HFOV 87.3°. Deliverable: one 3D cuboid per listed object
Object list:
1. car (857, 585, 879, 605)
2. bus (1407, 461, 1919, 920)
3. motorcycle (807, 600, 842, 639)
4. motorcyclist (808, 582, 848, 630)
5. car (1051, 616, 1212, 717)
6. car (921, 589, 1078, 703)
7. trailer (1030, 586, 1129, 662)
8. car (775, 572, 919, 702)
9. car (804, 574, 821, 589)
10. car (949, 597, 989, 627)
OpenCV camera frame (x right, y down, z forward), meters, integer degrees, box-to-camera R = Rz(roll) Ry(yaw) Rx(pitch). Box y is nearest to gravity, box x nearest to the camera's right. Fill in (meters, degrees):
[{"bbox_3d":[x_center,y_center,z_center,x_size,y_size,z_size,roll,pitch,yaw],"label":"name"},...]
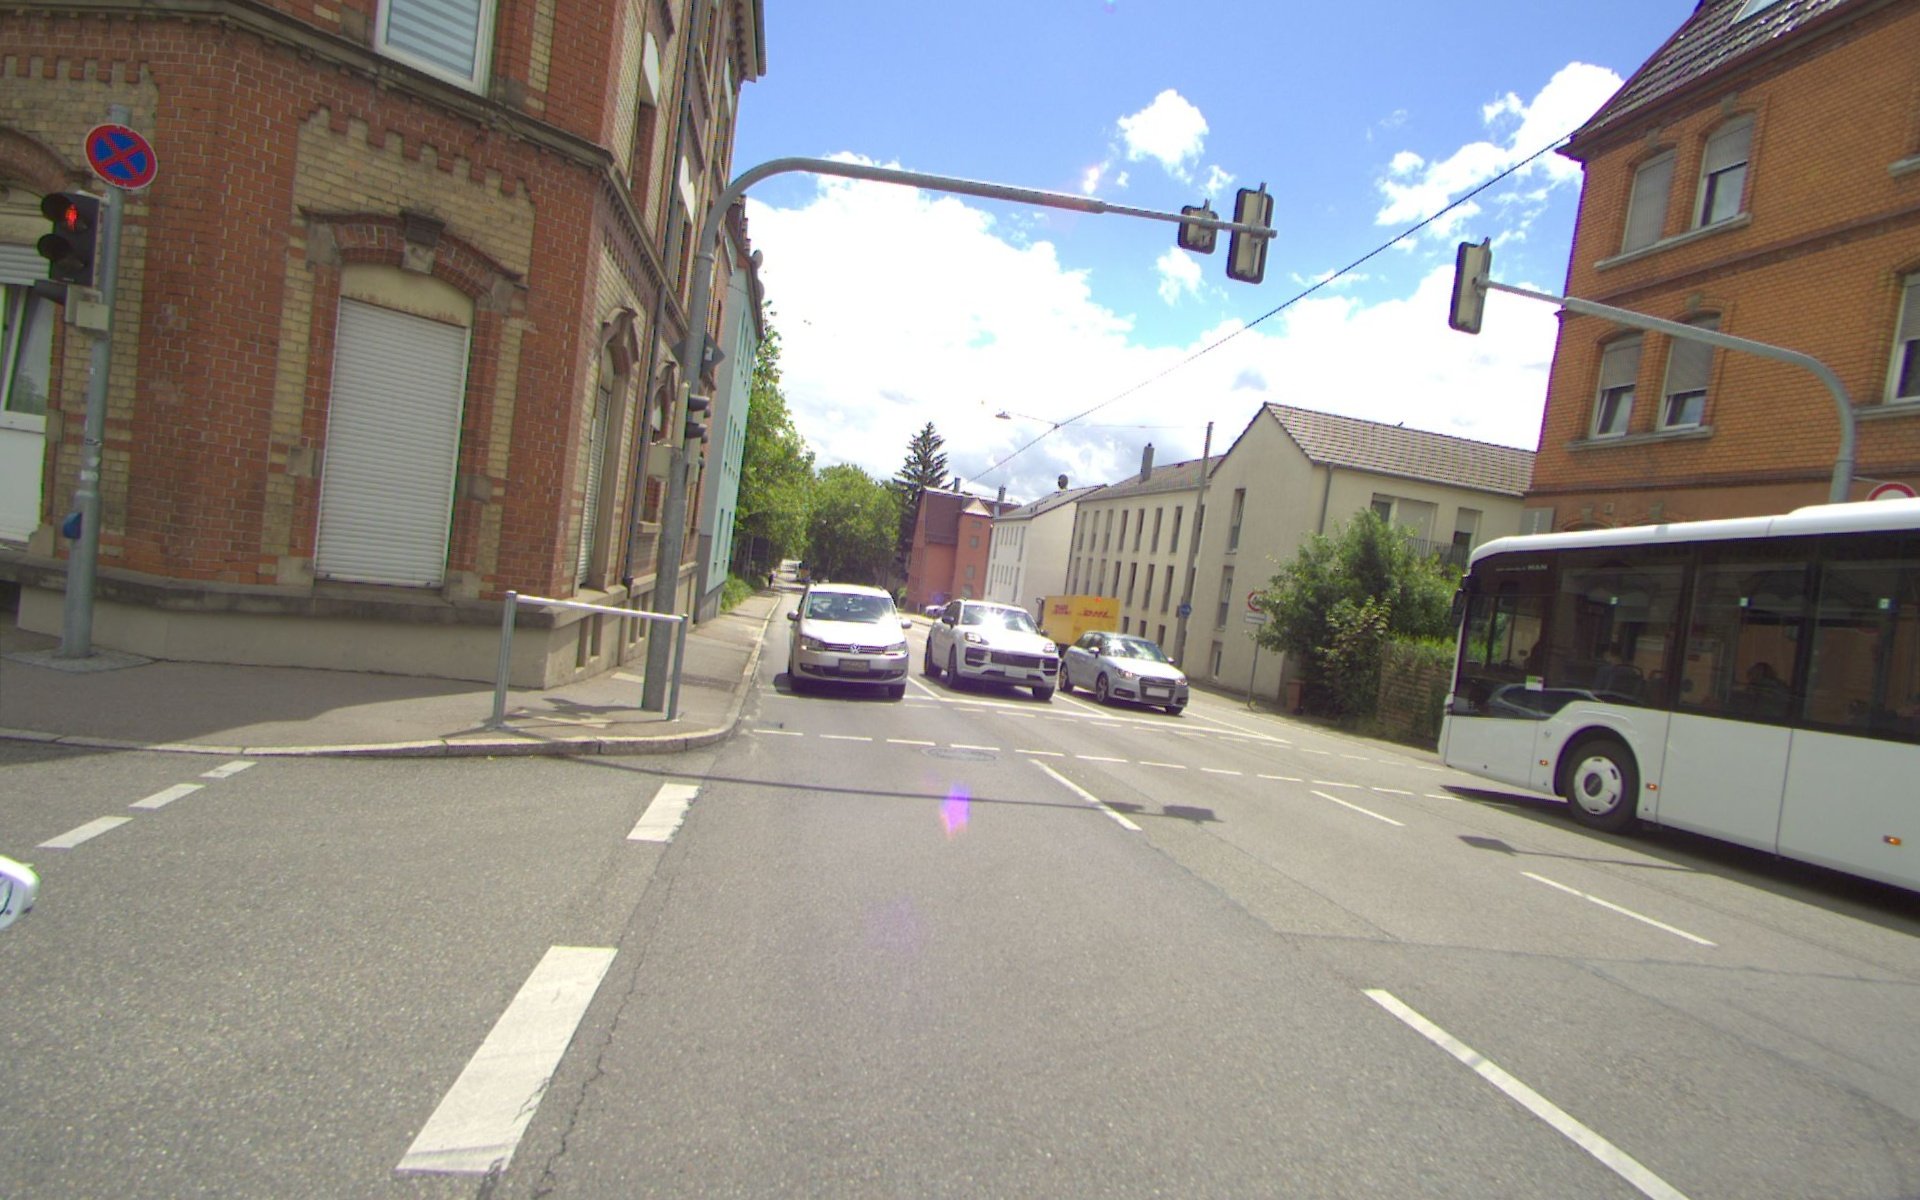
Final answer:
[{"bbox_3d":[-9.401,-0.532,102.956,1.965,1.738,4.606,7,0,-7],"label":"car"},{"bbox_3d":[8.671,0.844,7.434,2.921,3.428,12.405,8,-1,-11],"label":"bus"},{"bbox_3d":[-4.473,0.610,33.028,0.928,1.062,3.318,8,0,-9],"label":"motorcycle"},{"bbox_3d":[-4.329,0.173,32.905,1.064,1.396,1.415,8,0,-10],"label":"motorcyclist"},{"bbox_3d":[3.390,1.287,20.750,1.827,1.494,3.962,9,0,-11],"label":"car"},{"bbox_3d":[0.618,0.797,19.902,1.967,1.738,4.602,7,0,-11],"label":"car"},{"bbox_3d":[5.432,1.079,47.137,2.945,2.910,6.724,8,-1,-5],"label":"trailer"},{"bbox_3d":[-2.032,0.501,16.766,1.966,1.739,4.602,4,1,-11],"label":"car"},{"bbox_3d":[-20.918,-2.626,142.473,1.967,1.738,4.602,7,0,-10],"label":"car"},{"bbox_3d":[0.563,0.782,68.122,1.965,1.738,4.606,7,0,-7],"label":"car"}]
